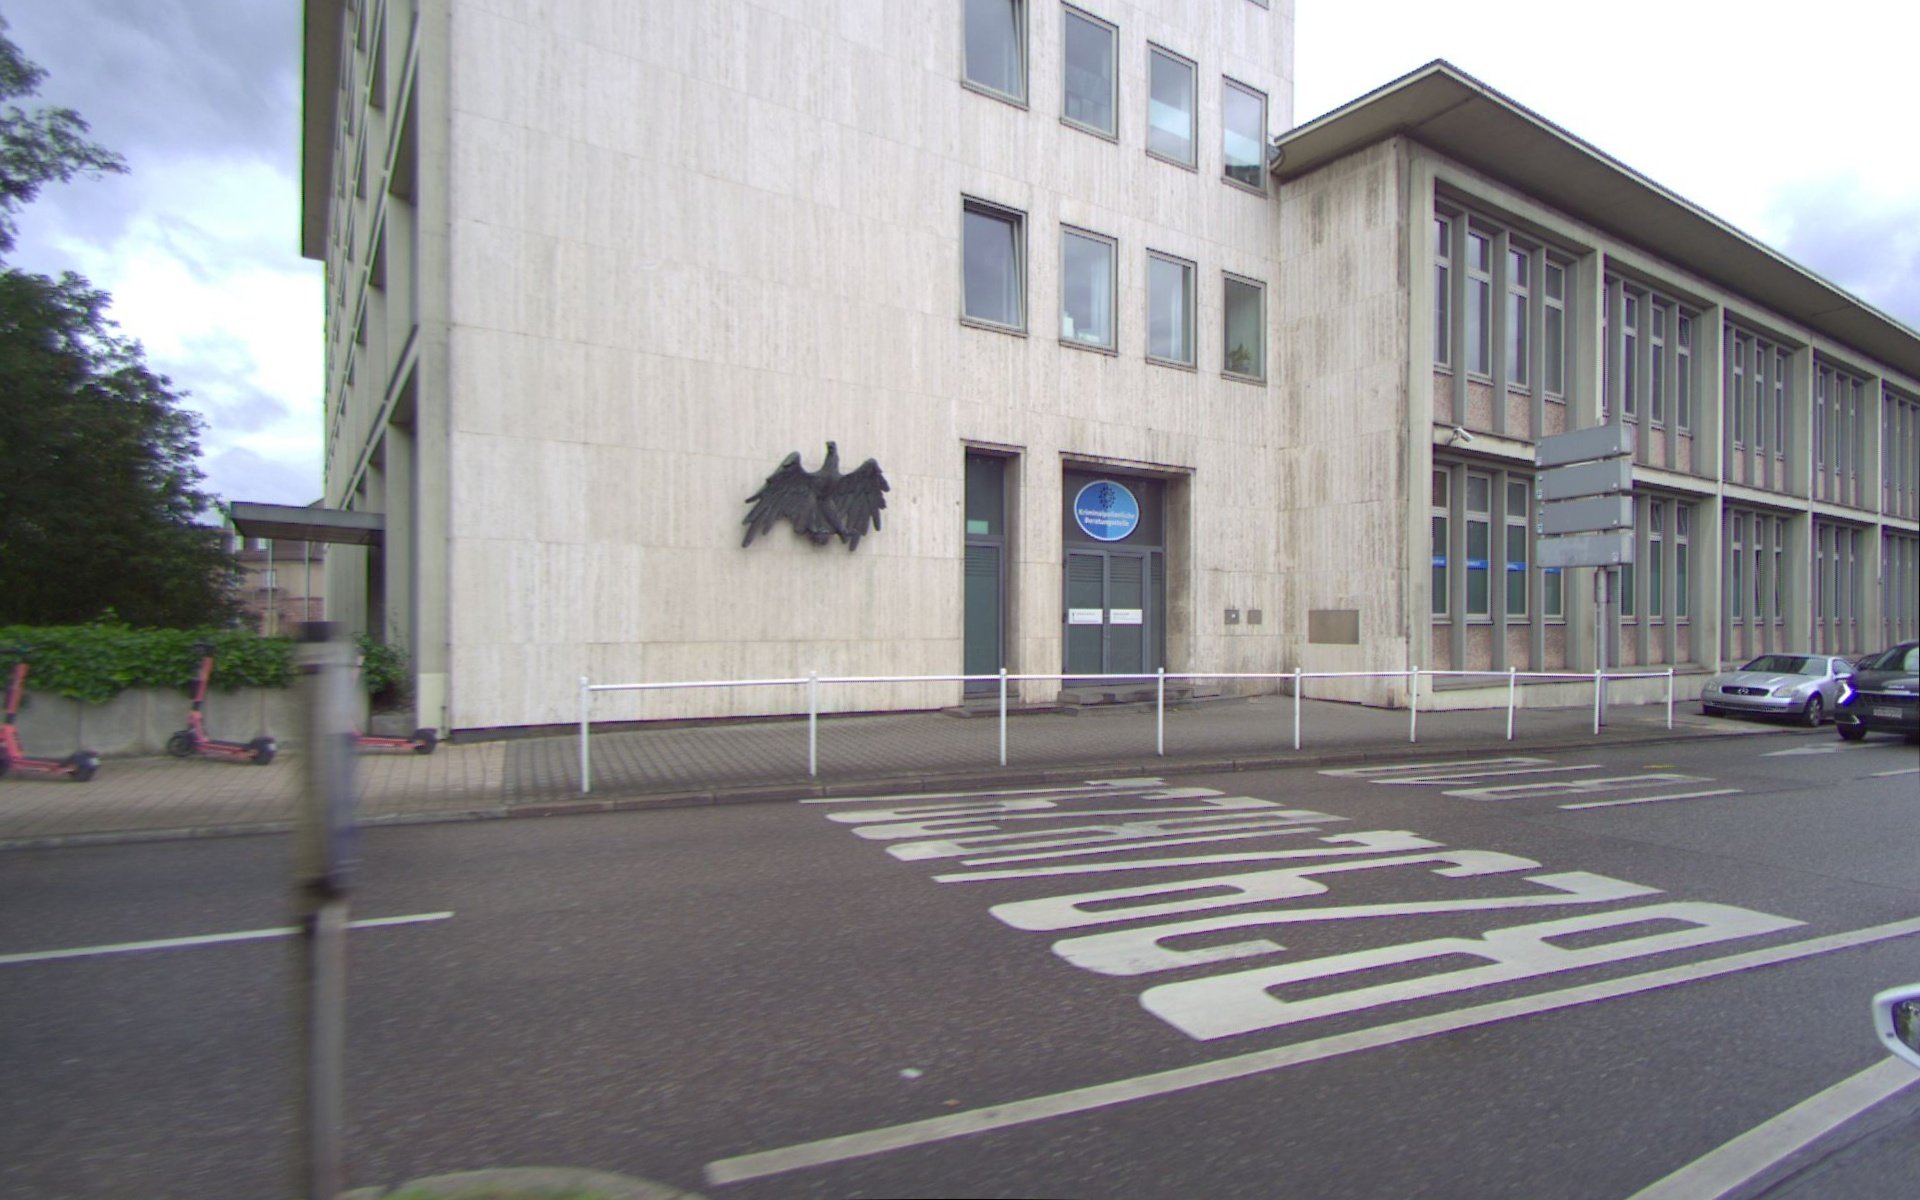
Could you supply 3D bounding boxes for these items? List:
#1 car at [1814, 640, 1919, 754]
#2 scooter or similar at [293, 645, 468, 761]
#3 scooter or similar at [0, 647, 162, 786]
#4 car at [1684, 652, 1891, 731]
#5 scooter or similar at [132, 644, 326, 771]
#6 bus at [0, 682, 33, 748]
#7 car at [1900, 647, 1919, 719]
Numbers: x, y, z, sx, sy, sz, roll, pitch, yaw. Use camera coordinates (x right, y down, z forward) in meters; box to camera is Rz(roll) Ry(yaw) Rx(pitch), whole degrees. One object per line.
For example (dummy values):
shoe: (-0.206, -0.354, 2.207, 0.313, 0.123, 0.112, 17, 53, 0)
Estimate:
car: (15.909, 1.505, 16.214, 4.284, 1.682, 1.814, 2, -3, -29)
scooter or similar: (-6.106, 1.071, 10.623, 1.497, 1.179, 0.609, 0, -2, 3)
scooter or similar: (-8.289, 1.037, 9.183, 1.497, 1.207, 0.609, 0, -2, 3)
car: (15.950, 1.713, 19.333, 4.042, 1.315, 1.684, 2, -1, -28)
scooter or similar: (-7.269, 1.048, 10.023, 1.497, 1.207, 0.609, 0, -2, 3)
bus: (-49.315, 5.703, 46.948, 2.838, 3.236, 11.952, 0, -2, -11)
car: (24.961, 2.043, 24.512, 4.550, 1.697, 1.788, 2, -1, -31)
